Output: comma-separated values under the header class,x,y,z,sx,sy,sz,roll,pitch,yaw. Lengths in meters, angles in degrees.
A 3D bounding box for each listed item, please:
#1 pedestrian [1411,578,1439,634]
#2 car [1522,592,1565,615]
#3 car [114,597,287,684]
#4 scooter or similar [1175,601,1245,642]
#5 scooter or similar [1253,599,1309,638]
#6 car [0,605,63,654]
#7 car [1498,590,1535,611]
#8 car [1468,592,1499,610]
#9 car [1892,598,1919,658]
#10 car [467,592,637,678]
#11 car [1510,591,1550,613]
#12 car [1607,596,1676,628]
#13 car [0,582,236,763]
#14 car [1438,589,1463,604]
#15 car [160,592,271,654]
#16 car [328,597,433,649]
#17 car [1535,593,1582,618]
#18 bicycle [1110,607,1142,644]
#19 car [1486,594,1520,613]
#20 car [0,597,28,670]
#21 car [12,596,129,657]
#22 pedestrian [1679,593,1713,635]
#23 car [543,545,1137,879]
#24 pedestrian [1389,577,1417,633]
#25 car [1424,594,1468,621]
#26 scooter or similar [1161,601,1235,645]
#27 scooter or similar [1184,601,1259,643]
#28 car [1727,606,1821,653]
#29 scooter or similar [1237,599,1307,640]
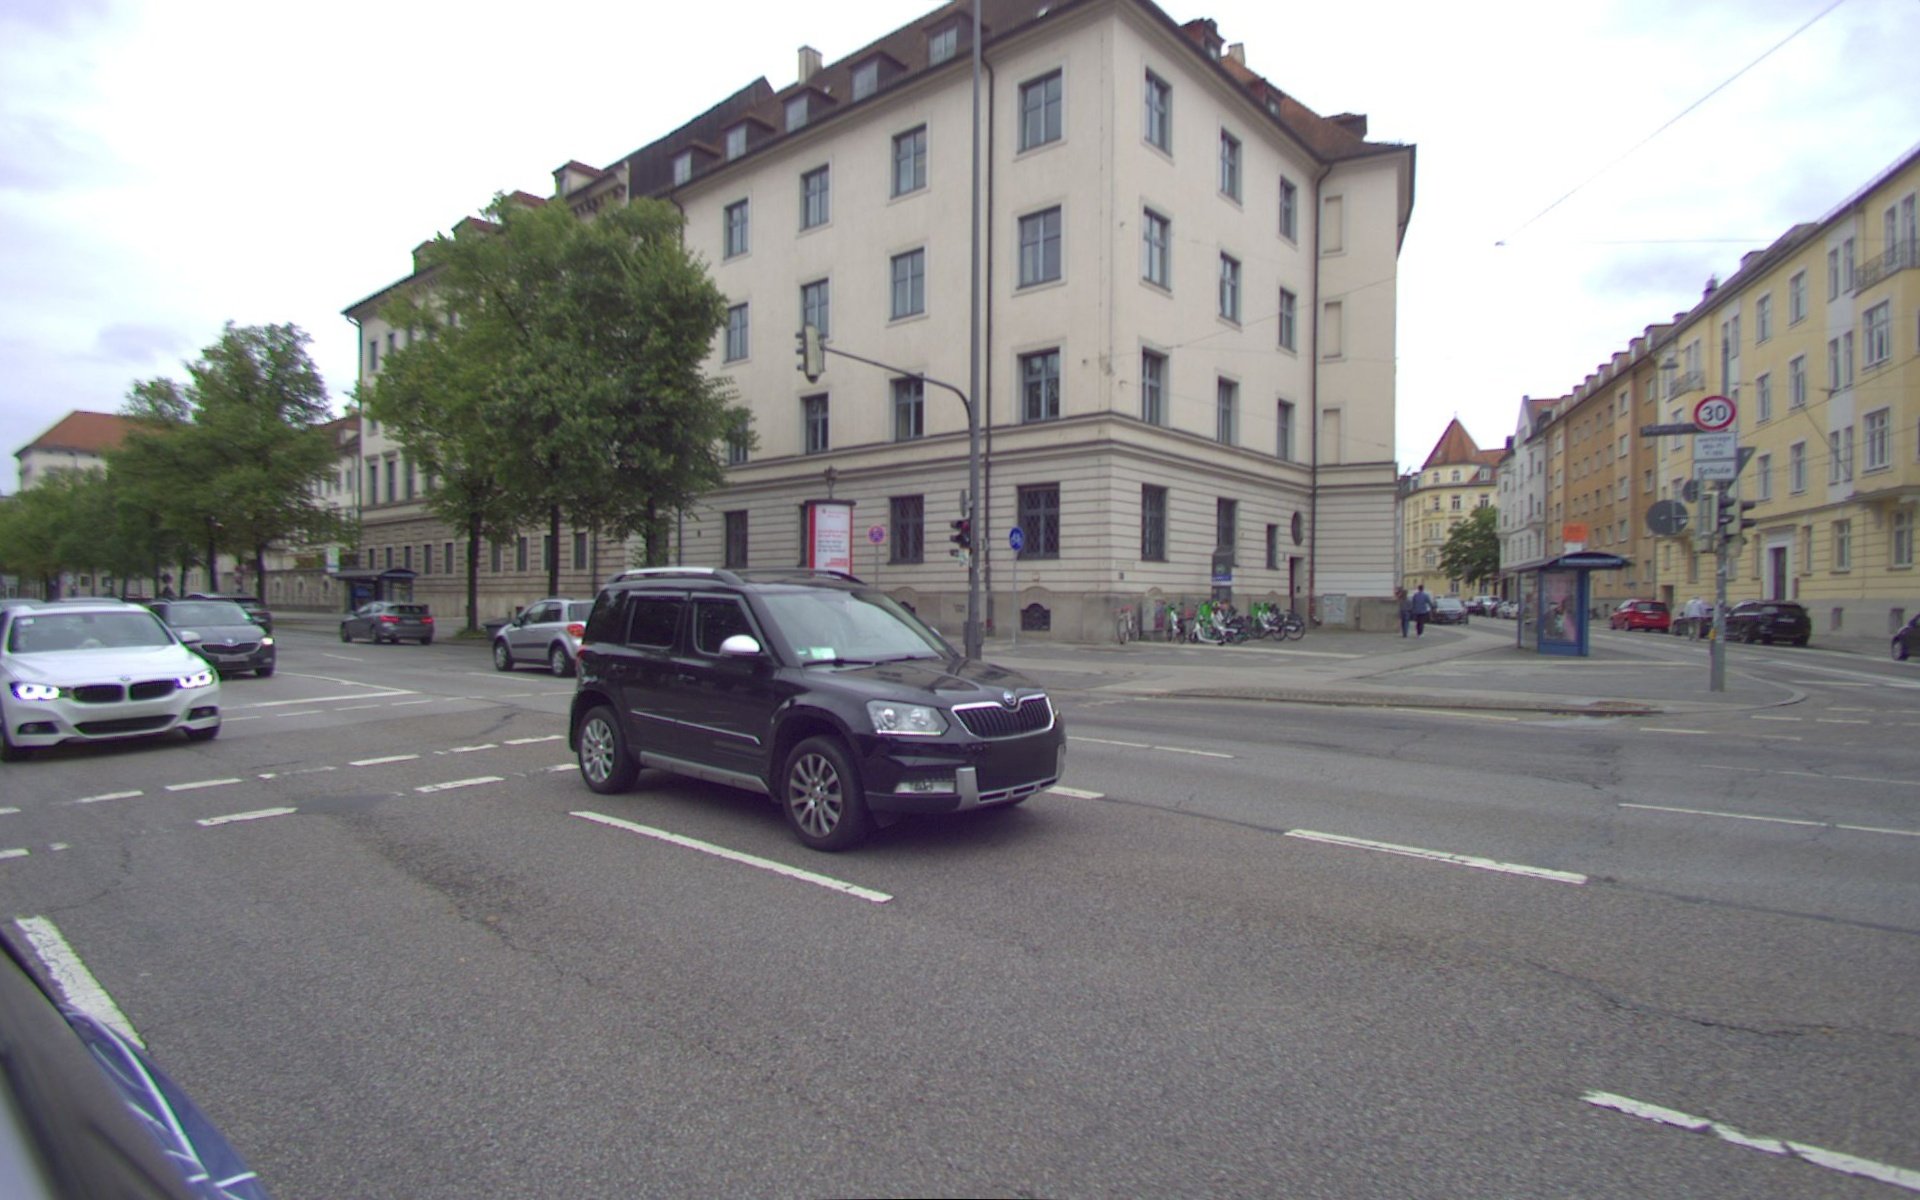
class,x,y,z,sx,sy,sz,roll,pitch,yaw
pedestrian,15.649,0.185,34.062,0.660,1.866,0.797,0,2,41
car,42.152,0.257,73.172,1.984,1.608,3.698,0,0,19
car,-14.607,0.688,19.376,4.272,1.458,1.774,1,1,41
scooter or similar,7.364,0.615,29.855,0.680,1.127,1.950,-2,2,-43
scooter or similar,9.773,0.548,30.839,1.546,1.127,0.539,0,2,41
car,-31.172,0.915,33.406,4.272,1.458,1.774,1,1,41
car,45.182,0.031,82.233,1.984,1.608,3.698,0,0,19
car,48.682,0.102,94.218,1.984,1.608,3.698,0,0,19
car,25.186,0.724,25.239,1.682,1.530,3.547,0,0,22
car,-8.705,0.671,21.416,4.163,1.652,1.661,0,0,41
car,43.919,0.135,78.034,1.984,1.608,3.698,0,0,19
car,34.710,0.589,51.654,1.984,1.608,3.698,0,0,19
car,-10.039,0.627,11.525,5.023,1.649,1.774,1,1,41
car,53.107,-0.412,109.554,1.984,1.608,3.698,0,0,19
car,-21.013,0.585,28.491,4.373,1.598,1.704,1,1,42
car,-19.753,0.726,34.426,4.442,1.598,1.705,1,1,41
car,40.531,0.374,68.604,1.984,1.608,3.698,0,0,19
bicycle,4.533,0.684,27.709,0.399,0.954,1.281,-1,1,-13
car,46.502,0.263,86.737,1.984,1.608,3.698,0,0,19
car,-21.563,0.680,21.747,4.272,1.458,1.774,1,1,41
car,-23.729,0.655,26.943,4.272,1.458,1.774,1,1,41
pedestrian,28.312,0.545,38.935,0.857,1.588,0.871,0,0,22
car,-1.041,0.526,7.009,4.202,1.649,1.705,1,1,41
pedestrian,15.078,0.169,34.411,0.660,1.866,0.797,0,2,41
car,29.542,0.452,61.594,1.984,1.608,3.698,0,0,19
scooter or similar,6.604,0.619,28.184,0.680,1.127,1.950,-2,2,-43
scooter or similar,7.392,0.613,28.661,1.947,1.127,0.681,0,2,41
car,29.673,1.030,37.001,1.682,1.588,3.547,0,0,22
scooter or similar,9.307,0.569,30.201,1.901,1.166,0.681,0,2,41
